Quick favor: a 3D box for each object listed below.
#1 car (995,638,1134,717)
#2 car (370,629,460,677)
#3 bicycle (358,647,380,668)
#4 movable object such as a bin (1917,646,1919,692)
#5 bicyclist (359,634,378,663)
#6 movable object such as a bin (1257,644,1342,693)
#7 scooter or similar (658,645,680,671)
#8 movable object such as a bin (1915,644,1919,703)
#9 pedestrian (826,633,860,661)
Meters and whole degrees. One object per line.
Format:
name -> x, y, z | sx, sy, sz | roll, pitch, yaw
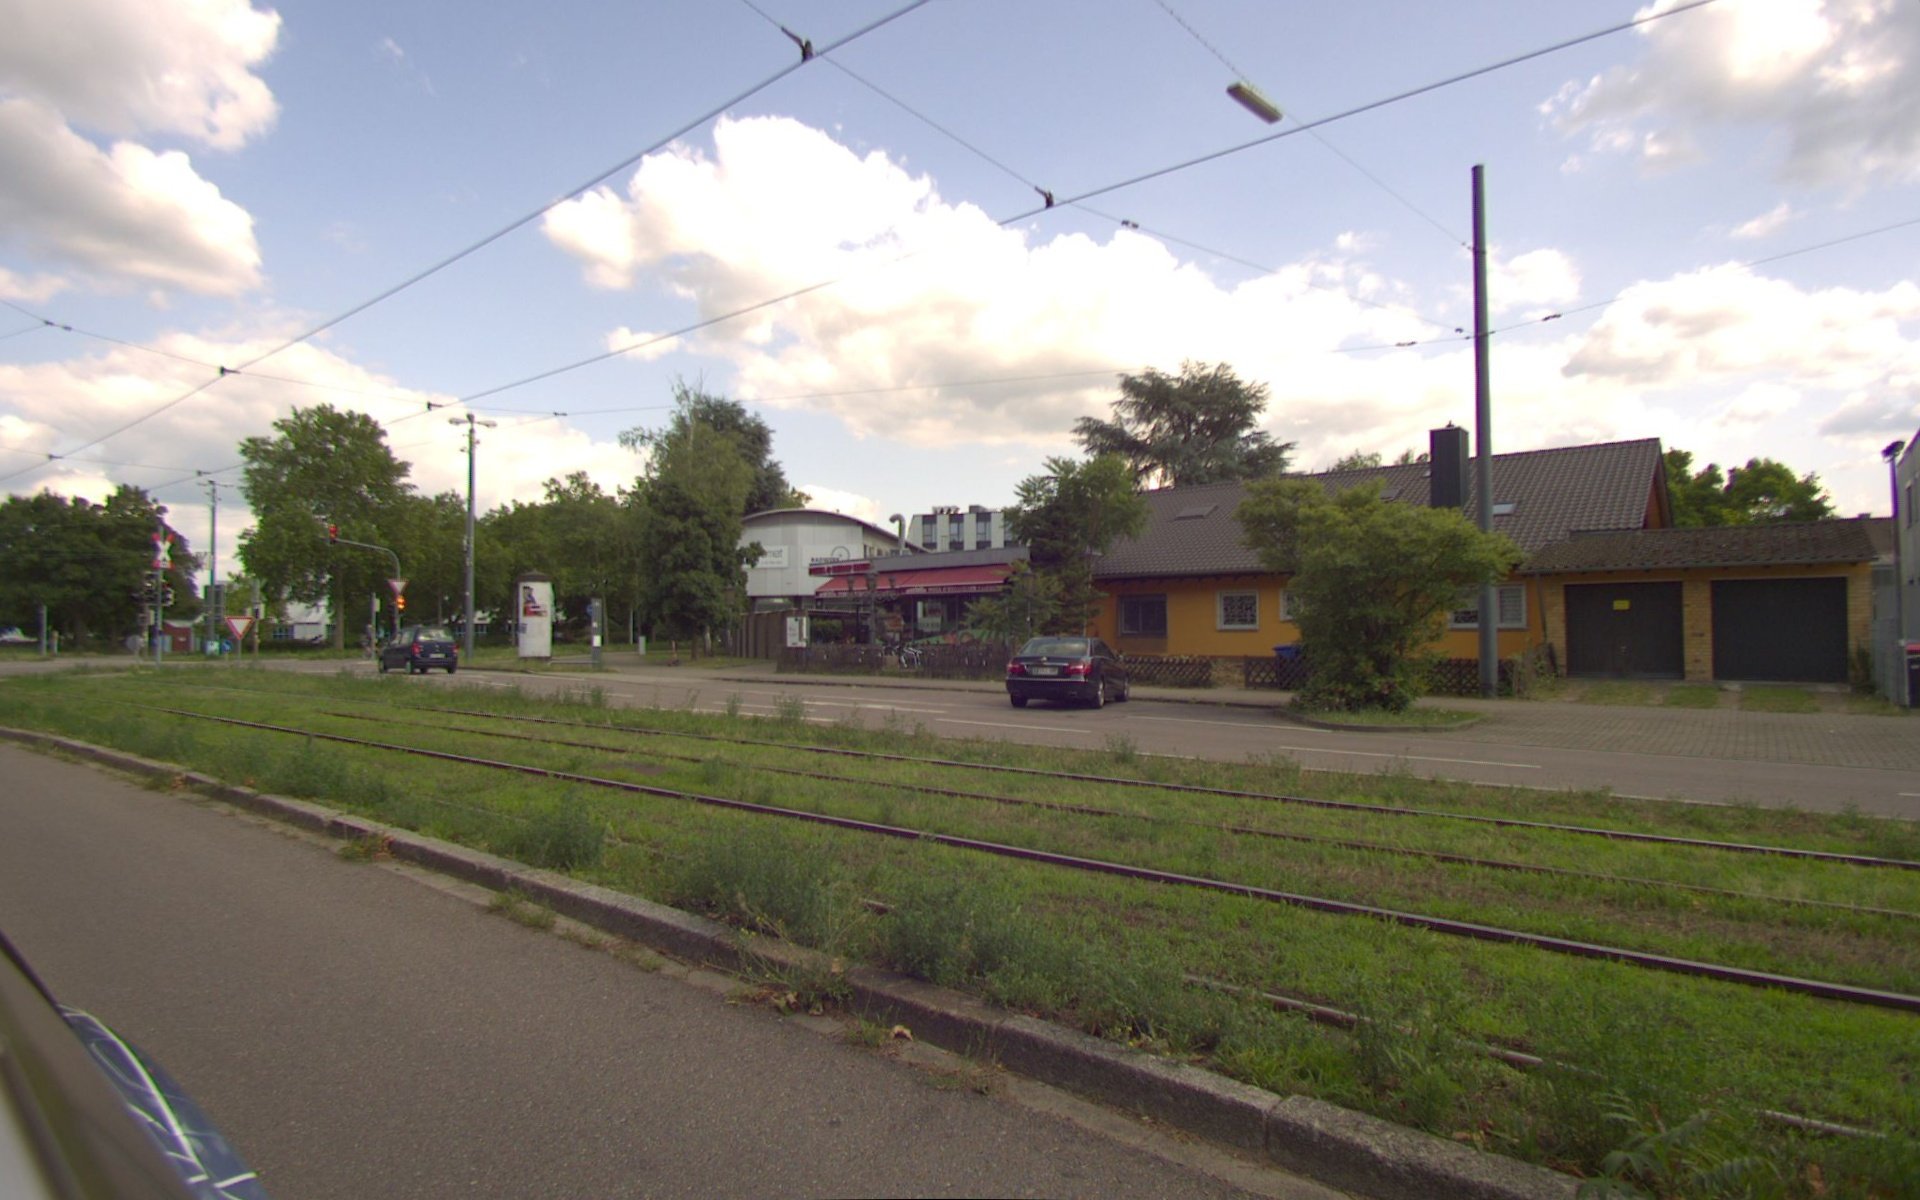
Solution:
car -> 2.327, 1.520, 21.216 | 1.869, 1.418, 4.620 | 0, -2, 20
car -> -19.434, 1.846, 36.048 | 3.495, 1.639, 1.759 | -2, -2, 42
bicycle -> -31.022, 3.028, 53.114 | 0.791, 1.068, 2.074 | 0, -3, -36
movable object such as a bin -> 17.331, 1.344, 17.913 | 0.481, 1.050, 0.499 | -3, -2, 40
bicyclist -> -31.086, 2.574, 53.200 | 0.791, 1.481, 0.834 | 0, -3, -36
movable object such as a bin -> 8.161, 1.620, 24.322 | 1.616, 1.109, 1.242 | -2, -3, 39
scooter or similar -> -12.185, 2.418, 42.342 | 0.421, 1.041, 1.225 | 1, -3, -40
movable object such as a bin -> 17.685, 1.339, 18.339 | 0.479, 1.050, 0.488 | -3, -2, 40
pedestrian -> -5.018, 2.008, 43.542 | 0.931, 1.155, 1.141 | -2, -3, 41
